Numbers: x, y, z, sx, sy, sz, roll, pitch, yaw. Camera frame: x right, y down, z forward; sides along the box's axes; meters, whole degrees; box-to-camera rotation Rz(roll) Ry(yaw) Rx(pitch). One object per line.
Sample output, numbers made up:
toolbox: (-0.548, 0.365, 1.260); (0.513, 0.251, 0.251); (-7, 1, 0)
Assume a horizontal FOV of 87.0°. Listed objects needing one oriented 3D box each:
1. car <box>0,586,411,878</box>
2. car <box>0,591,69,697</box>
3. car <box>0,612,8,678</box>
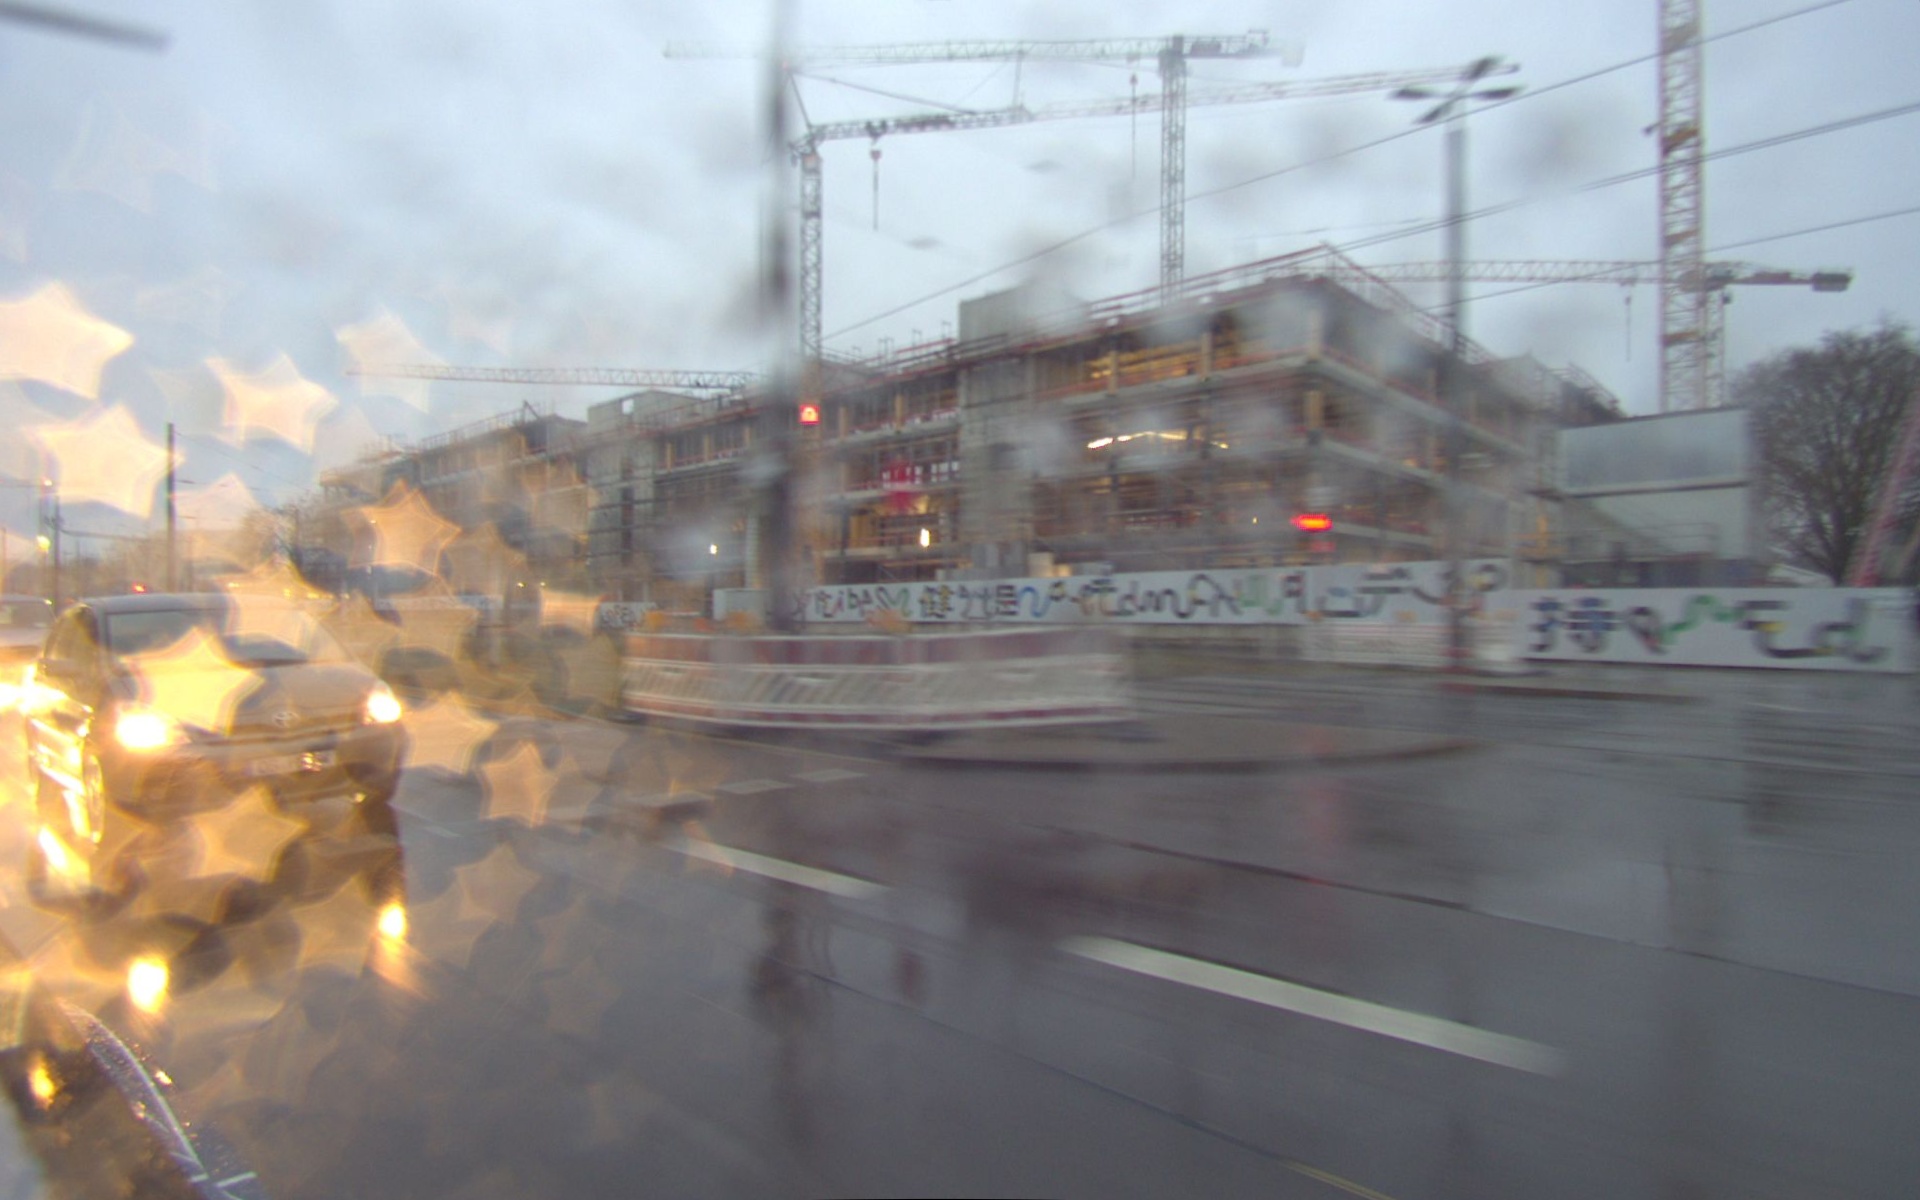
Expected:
car: (-5.841, 0.740, 7.631); (3.999, 1.606, 1.741); (-1, 1, 42)
car: (-17.525, 0.757, 18.210); (4.000, 1.746, 1.833); (-1, 1, 43)
car: (-26.619, 1.176, 26.646); (4.321, 1.666, 1.821); (-1, 1, 41)
